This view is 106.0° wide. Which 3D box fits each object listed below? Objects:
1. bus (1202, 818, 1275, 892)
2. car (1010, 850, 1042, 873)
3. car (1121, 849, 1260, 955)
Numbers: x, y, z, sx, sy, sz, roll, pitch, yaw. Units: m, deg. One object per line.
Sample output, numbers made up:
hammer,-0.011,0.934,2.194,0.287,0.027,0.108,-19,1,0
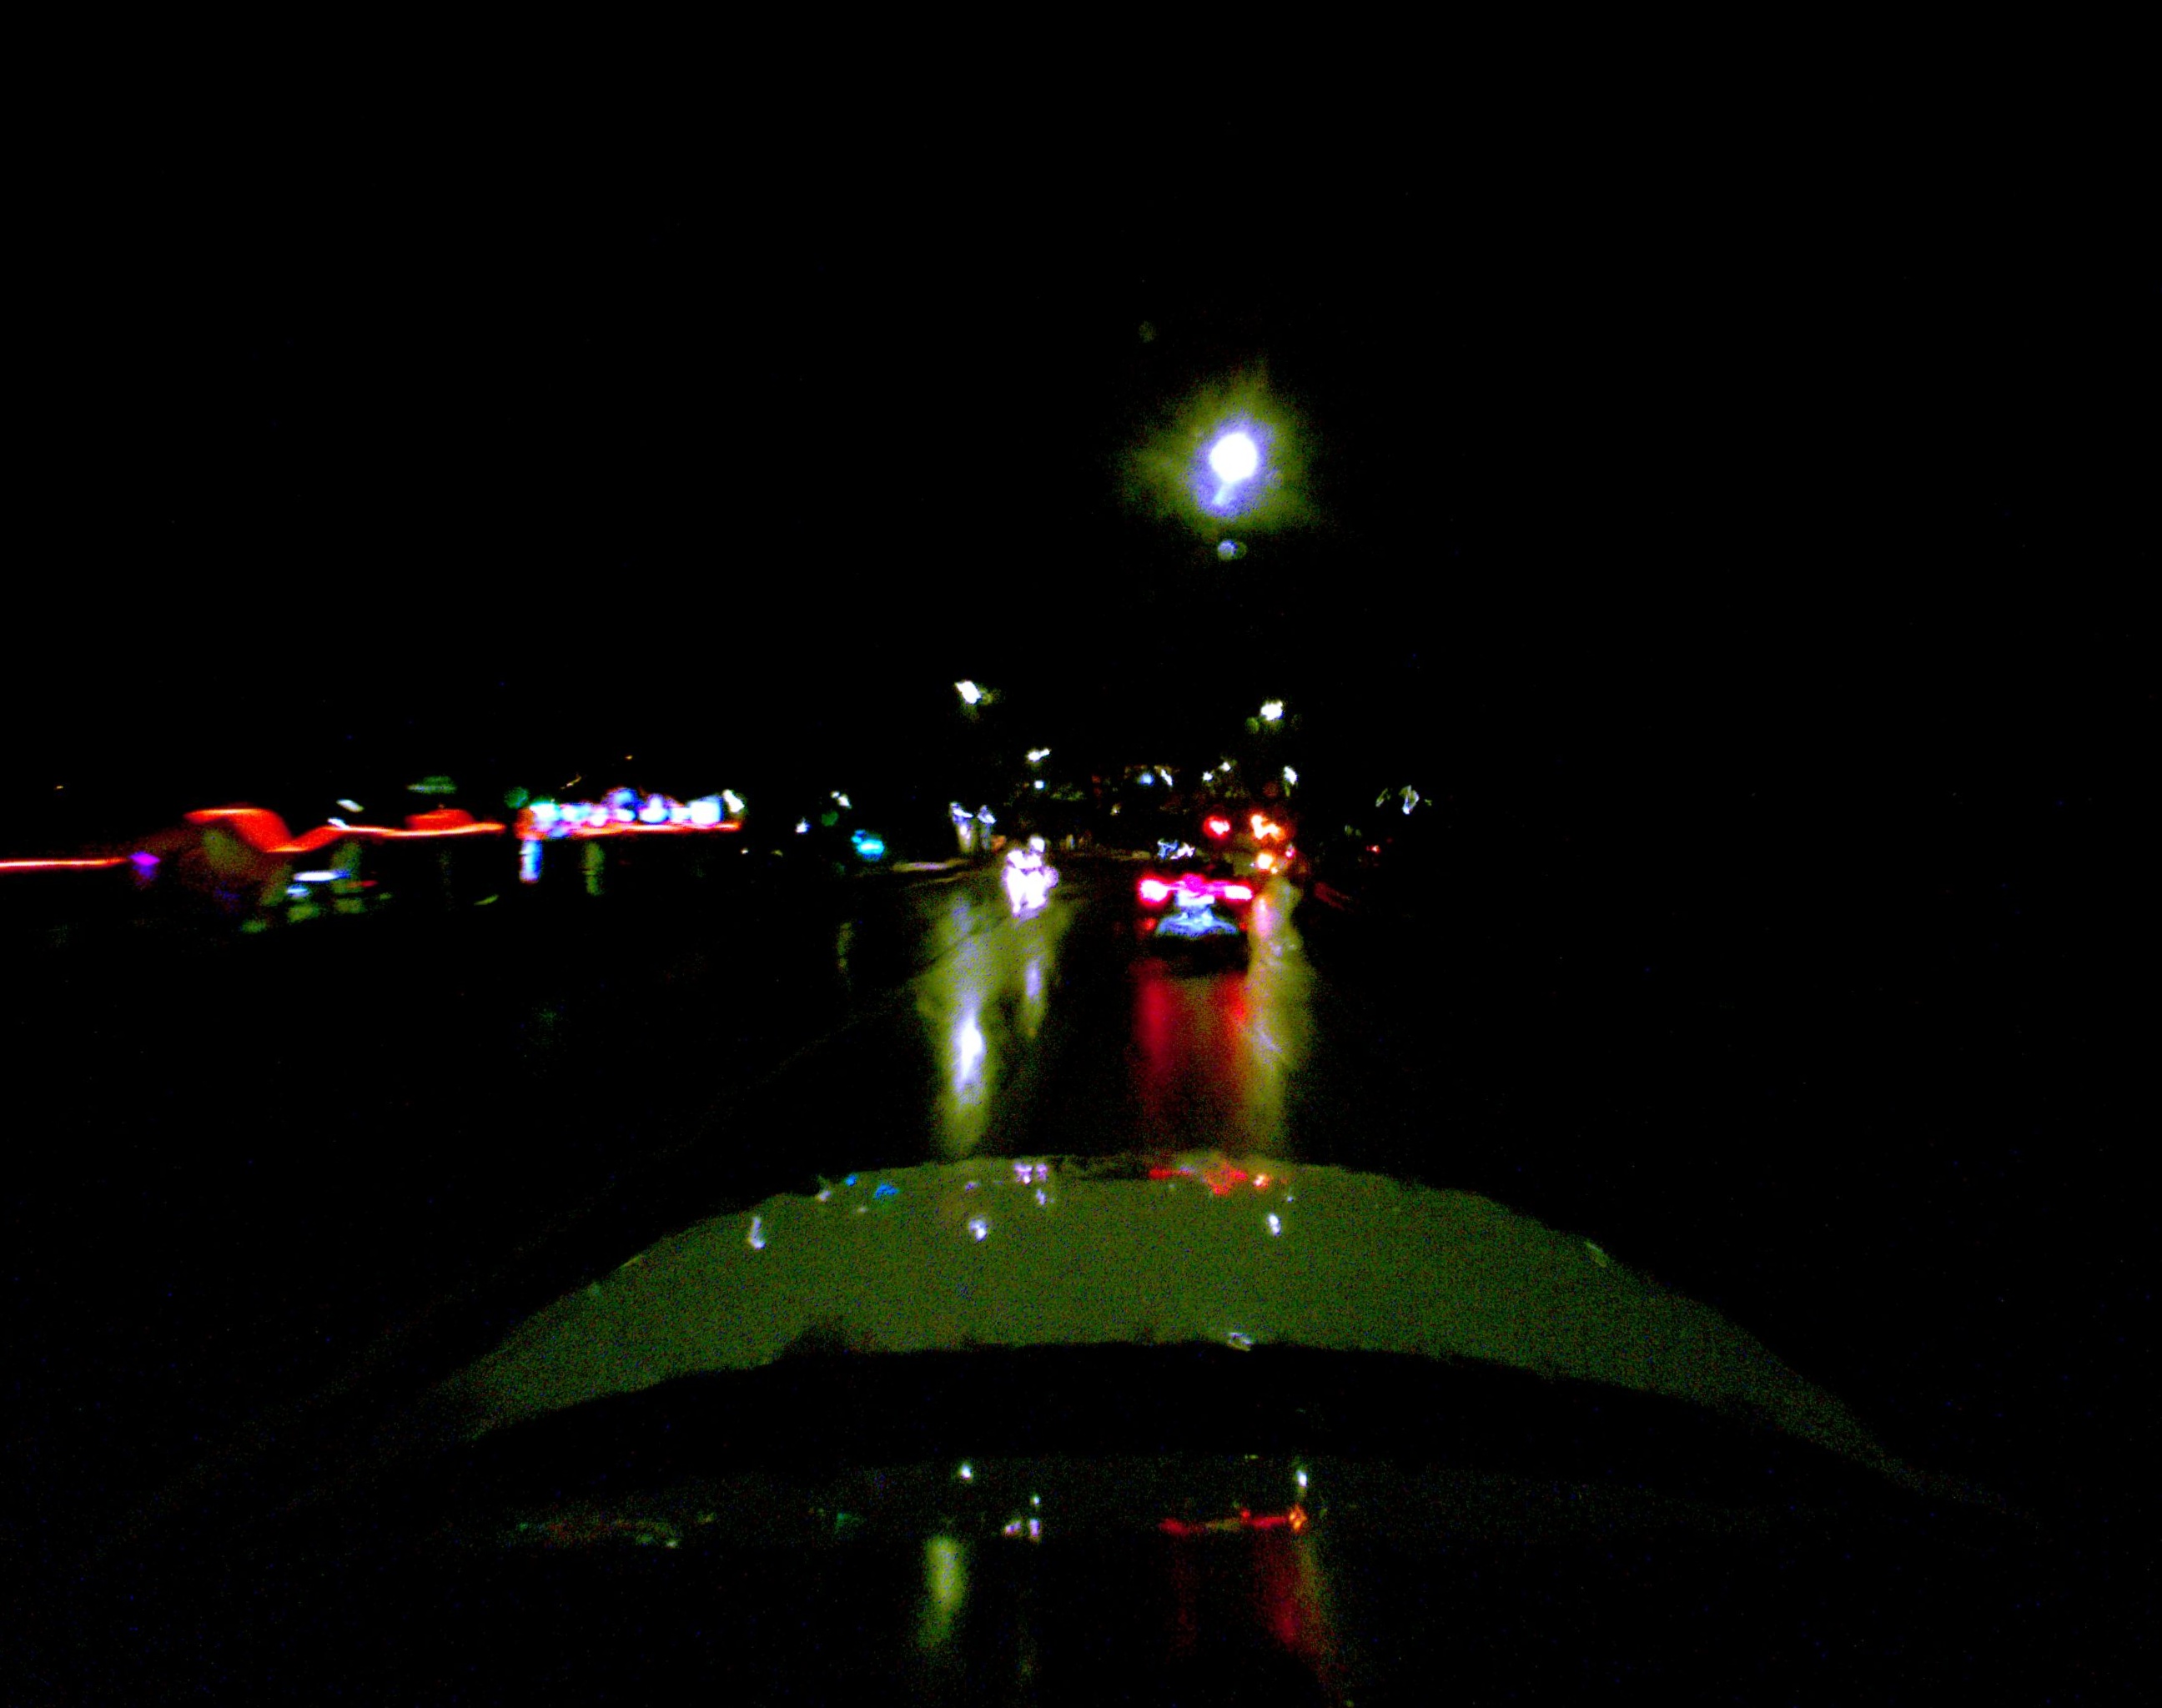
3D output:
bus,8.144,0.079,41.175,3.022,3.212,9.083,-2,-1,14
car,-3.756,0.522,56.343,1.819,1.503,4.189,0,0,1
car,1.863,0.731,13.939,1.982,1.524,4.008,-1,-1,8
